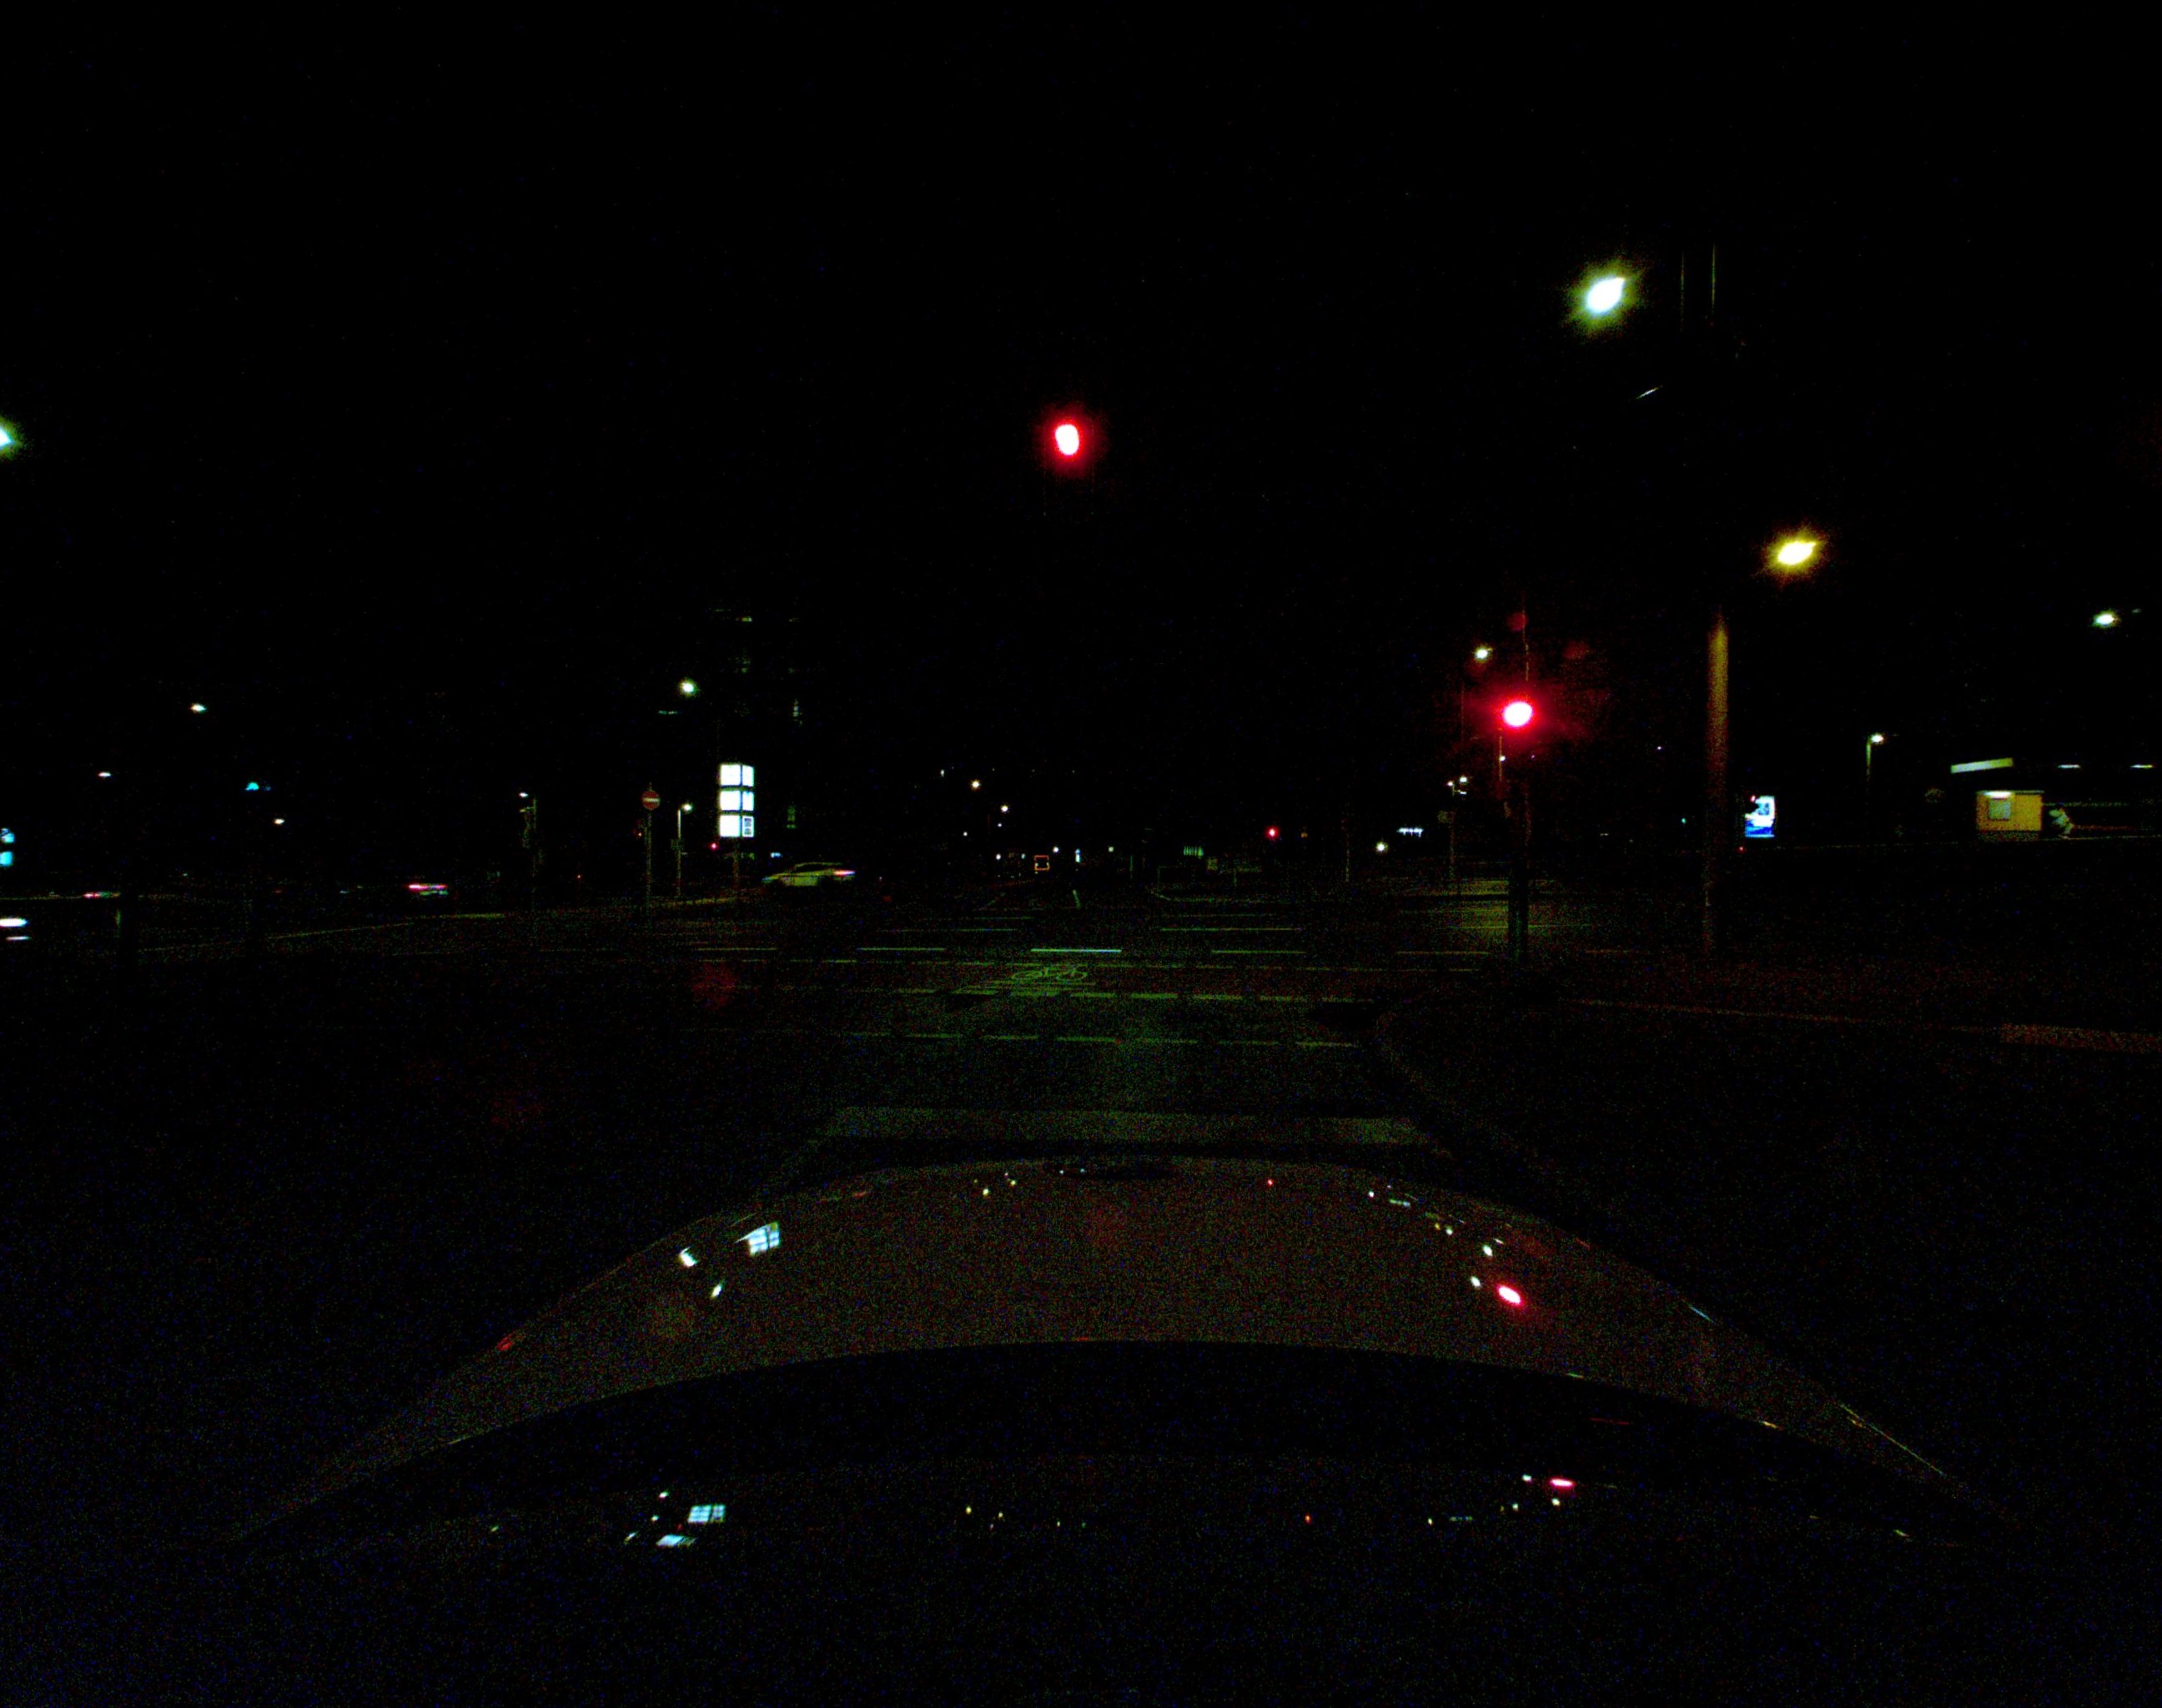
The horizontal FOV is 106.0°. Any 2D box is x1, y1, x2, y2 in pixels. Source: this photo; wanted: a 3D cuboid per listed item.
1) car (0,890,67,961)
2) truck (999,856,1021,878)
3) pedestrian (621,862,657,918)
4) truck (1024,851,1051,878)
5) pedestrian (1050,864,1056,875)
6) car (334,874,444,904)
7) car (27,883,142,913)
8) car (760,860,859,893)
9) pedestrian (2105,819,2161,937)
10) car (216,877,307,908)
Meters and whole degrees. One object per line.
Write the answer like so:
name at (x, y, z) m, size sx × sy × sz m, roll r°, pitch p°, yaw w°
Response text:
car at (-26.088, 1.707, 18.562) m, size 3.861 × 1.473 × 1.660 m, roll -2°, pitch 2°, yaw 2°
truck at (-10.454, 1.941, 119.442) m, size 2.419 × 3.089 × 6.412 m, roll 0°, pitch -1°, yaw -11°
pedestrian at (-13.947, 1.122, 25.698) m, size 0.670 × 1.722 × 0.710 m, roll -1°, pitch -2°, yaw 28°
truck at (-7.998, 1.935, 149.252) m, size 3.366 × 4.843 × 7.865 m, roll 0°, pitch -1°, yaw -14°
pedestrian at (-5.054, 2.770, 147.748) m, size 0.851 × 1.912 × 1.001 m, roll 0°, pitch -1°, yaw -16°
car at (-36.899, 1.853, 43.481) m, size 4.553 × 1.486 × 1.781 m, roll 0°, pitch 0°, yaw 5°
car at (-51.696, 2.277, 42.291) m, size 3.817 × 1.486 × 1.871 m, roll 0°, pitch -1°, yaw 5°
car at (-13.993, 1.142, 42.084) m, size 4.377 × 1.644 × 1.944 m, roll 0°, pitch -1°, yaw 5°
pedestrian at (15.645, 0.324, 11.711) m, size 0.870 × 1.656 × 0.843 m, roll -7°, pitch -5°, yaw 42°
car at (-48.387, 2.273, 48.119) m, size 3.798 × 1.631 × 1.816 m, roll -2°, pitch 0°, yaw 8°
